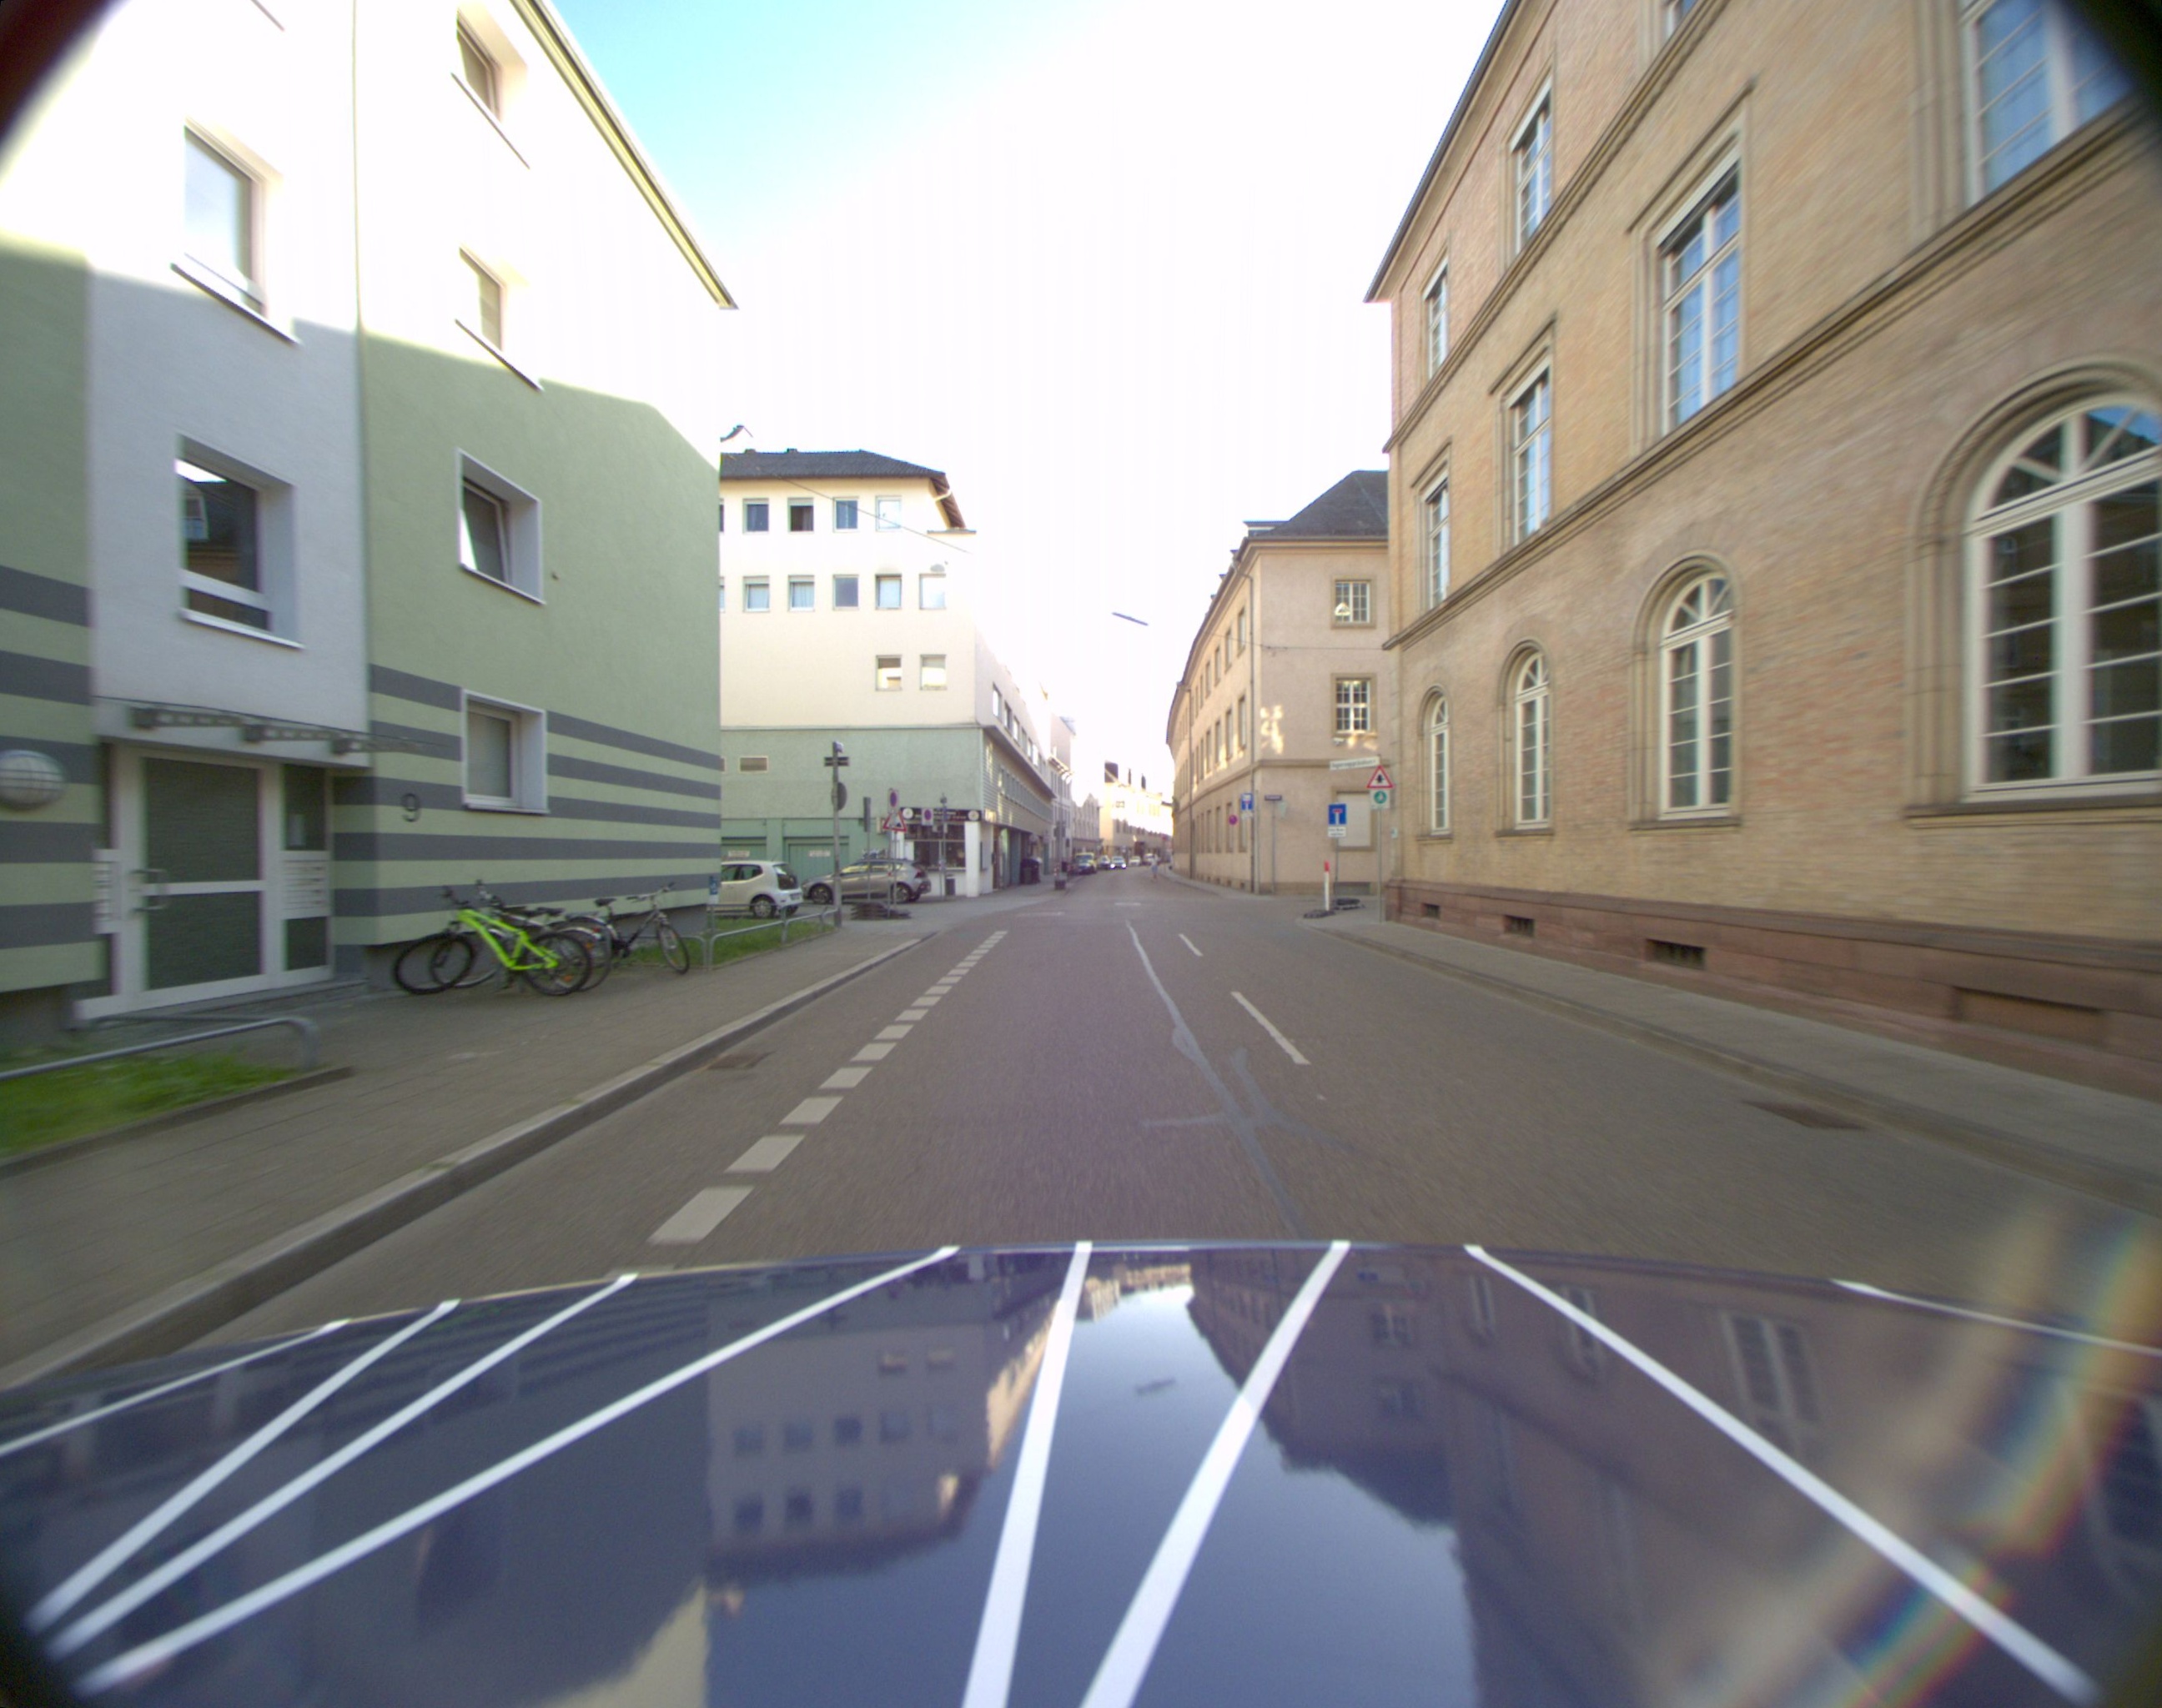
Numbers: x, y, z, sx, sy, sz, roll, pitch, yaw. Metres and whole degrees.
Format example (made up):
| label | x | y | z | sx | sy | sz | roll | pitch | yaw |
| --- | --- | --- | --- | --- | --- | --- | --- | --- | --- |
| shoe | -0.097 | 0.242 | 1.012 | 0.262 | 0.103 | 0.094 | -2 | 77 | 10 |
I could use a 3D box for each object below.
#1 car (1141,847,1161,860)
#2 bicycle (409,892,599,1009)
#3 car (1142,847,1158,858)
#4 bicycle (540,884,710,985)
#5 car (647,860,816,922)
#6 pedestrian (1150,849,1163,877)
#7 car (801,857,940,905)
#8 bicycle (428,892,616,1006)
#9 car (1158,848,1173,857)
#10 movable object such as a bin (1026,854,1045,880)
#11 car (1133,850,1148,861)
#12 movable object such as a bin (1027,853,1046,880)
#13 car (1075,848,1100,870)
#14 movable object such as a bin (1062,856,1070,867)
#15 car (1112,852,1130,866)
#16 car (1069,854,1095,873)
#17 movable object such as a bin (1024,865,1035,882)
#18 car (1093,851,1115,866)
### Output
| label | x | y | z | sx | sy | sz | roll | pitch | yaw |
| --- | --- | --- | --- | --- | --- | --- | --- | --- | --- |
| car | 11.031 | -0.087 | 119.798 | 1.945 | 1.850 | 5.201 | -5 | -1 | 17 |
| bicycle | -5.916 | 0.991 | 7.829 | 1.607 | 1.135 | 0.237 | 3 | 0 | -8 |
| car | 11.529 | -0.243 | 126.995 | 1.774 | 1.574 | 3.861 | -5 | -1 | 17 |
| bicycle | -5.686 | 0.988 | 9.516 | 1.753 | 1.135 | 0.552 | 3 | 0 | 0 |
| car | -8.893 | 0.927 | 19.529 | 3.553 | 1.473 | 1.709 | 0 | 1 | 1 |
| pedestrian | 4.579 | 0.519 | 45.979 | 0.694 | 1.660 | 0.875 | -3 | 1 | 4 |
| car | -6.939 | 0.868 | 25.349 | 4.088 | 1.473 | 1.865 | 0 | 1 | 0 |
| bicycle | -5.934 | 1.013 | 8.109 | 1.646 | 1.135 | 0.283 | 3 | 0 | -8 |
| car | 15.253 | -0.264 | 136.824 | 1.773 | 1.574 | 3.861 | -5 | -1 | 19 |
| movable object such as a bin | -2.602 | 0.748 | 43.634 | 0.983 | 1.377 | 1.320 | 1 | 3 | 2 |
| car | 9.037 | 0.227 | 115.532 | 1.734 | 1.539 | 4.004 | -2 | 0 | 12 |
| movable object such as a bin | -2.644 | 0.722 | 45.276 | 0.983 | 1.472 | 1.551 | 1 | 3 | 3 |
| car | 0.625 | 0.439 | 68.627 | 1.887 | 1.871 | 4.847 | -1 | 0 | 5 |
| movable object such as a bin | -1.380 | 0.702 | 70.800 | 0.607 | 1.045 | 0.708 | 4 | 1 | 4 |
| car | 4.873 | 0.613 | 92.051 | 1.828 | 1.550 | 3.989 | -2 | 0 | 9 |
| car | 0.137 | 0.751 | 62.767 | 1.887 | 1.480 | 4.369 | -1 | 0 | 3 |
| movable object such as a bin | -2.911 | 1.089 | 42.685 | 0.558 | 0.894 | 0.523 | 1 | 3 | 2 |
| car | 2.628 | 0.467 | 85.486 | 1.828 | 1.645 | 4.496 | -1 | 0 | 9 |
